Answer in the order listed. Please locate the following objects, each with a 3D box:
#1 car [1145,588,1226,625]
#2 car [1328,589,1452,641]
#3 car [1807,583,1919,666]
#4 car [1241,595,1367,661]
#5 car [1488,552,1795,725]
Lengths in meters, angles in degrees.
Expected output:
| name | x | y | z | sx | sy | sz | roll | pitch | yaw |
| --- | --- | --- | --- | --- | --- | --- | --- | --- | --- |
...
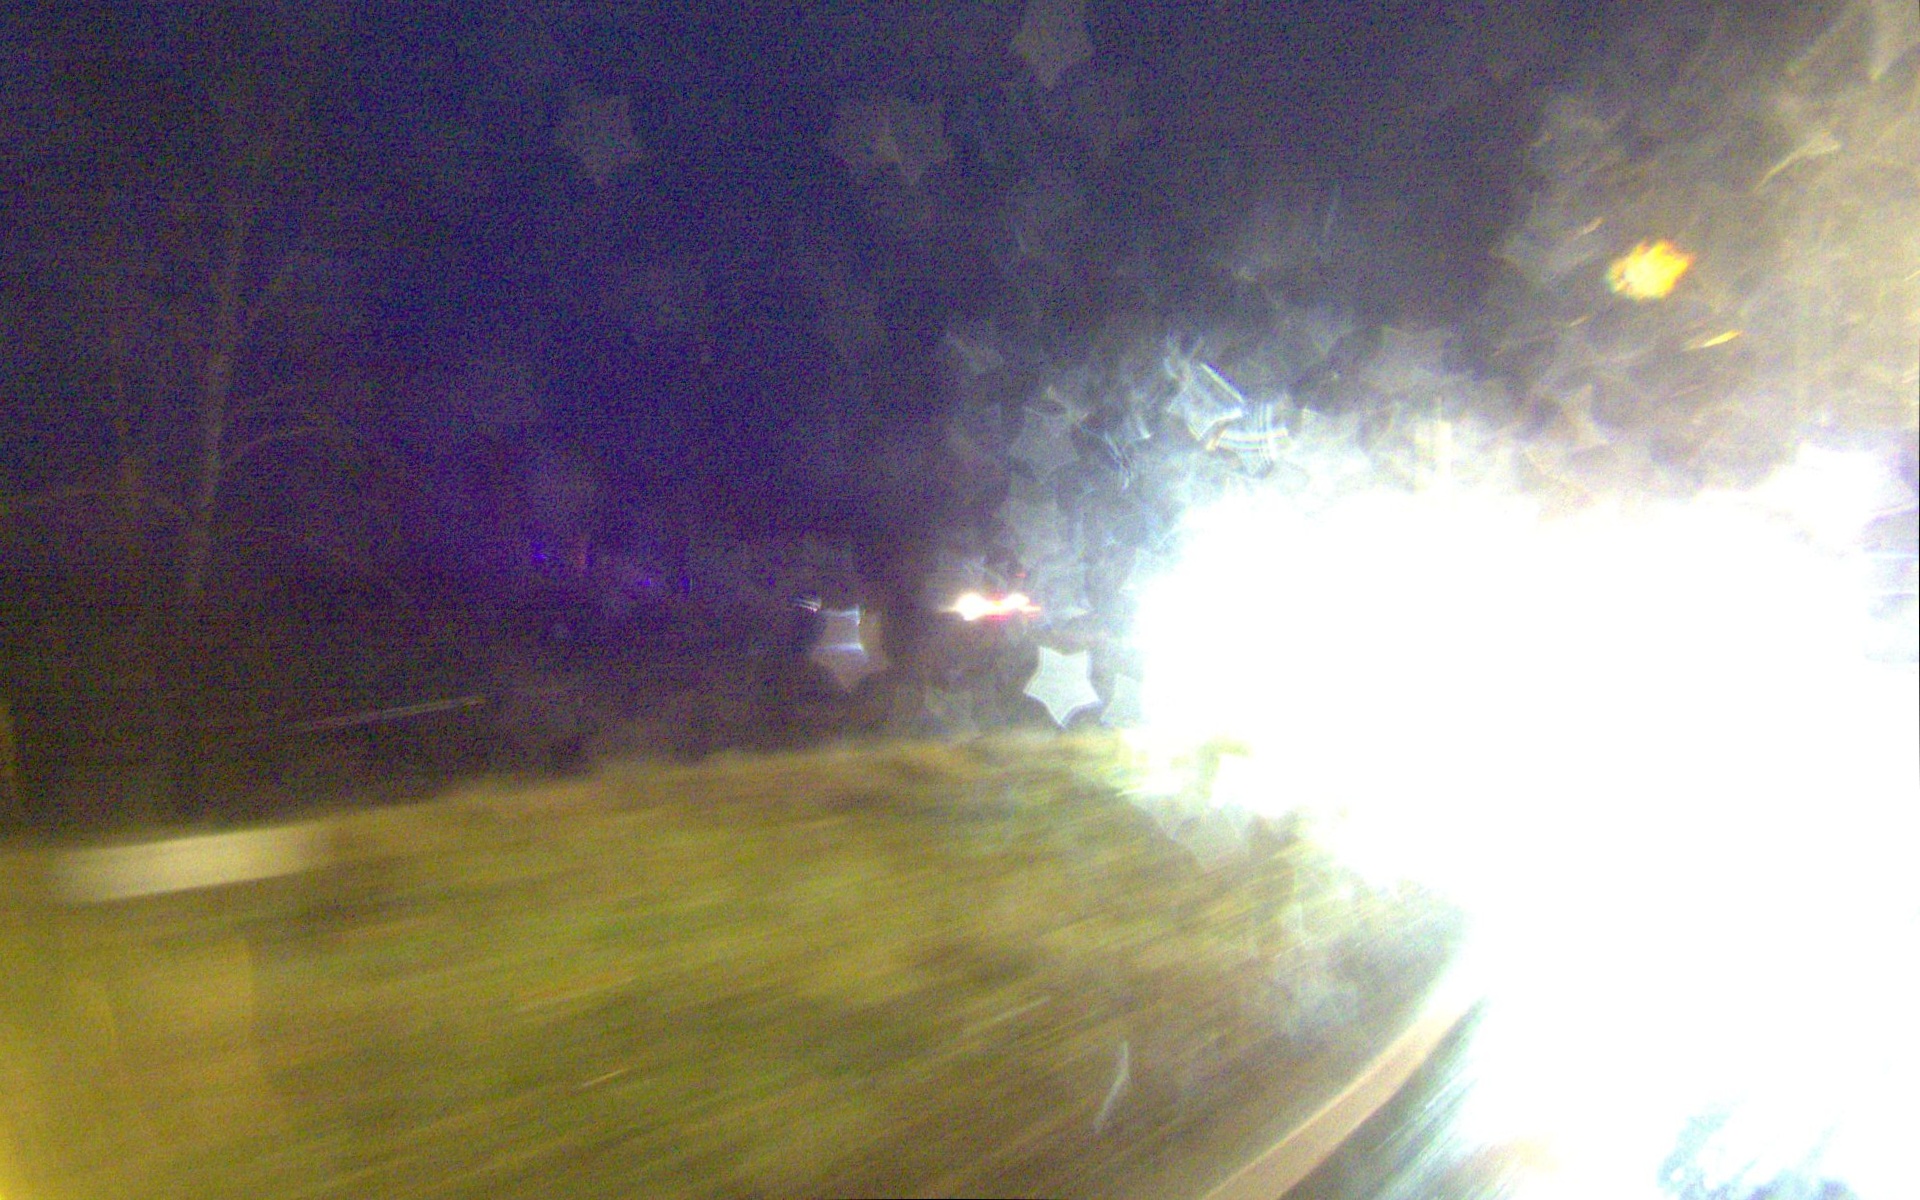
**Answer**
| name | x | y | z | sx | sy | sz | roll | pitch | yaw |
| --- | --- | --- | --- | --- | --- | --- | --- | --- | --- |
| car | 9.806 | 0.315 | 44.363 | 1.646 | 1.463 | 4.182 | -3 | -1 | -15 |
| car | 15.165 | 0.489 | 35.922 | 1.810 | 1.727 | 4.137 | 0 | 0 | -17 |
| car | 19.763 | 0.536 | 20.068 | 1.751 | 1.615 | 4.246 | 4 | -1 | -18 |
| car | 9.246 | 0.732 | 27.543 | 1.655 | 1.552 | 3.991 | -3 | -1 | -6 |
| car | 8.899 | 0.461 | 13.749 | 1.974 | 1.950 | 4.351 | -1 | -1 | 13 |
